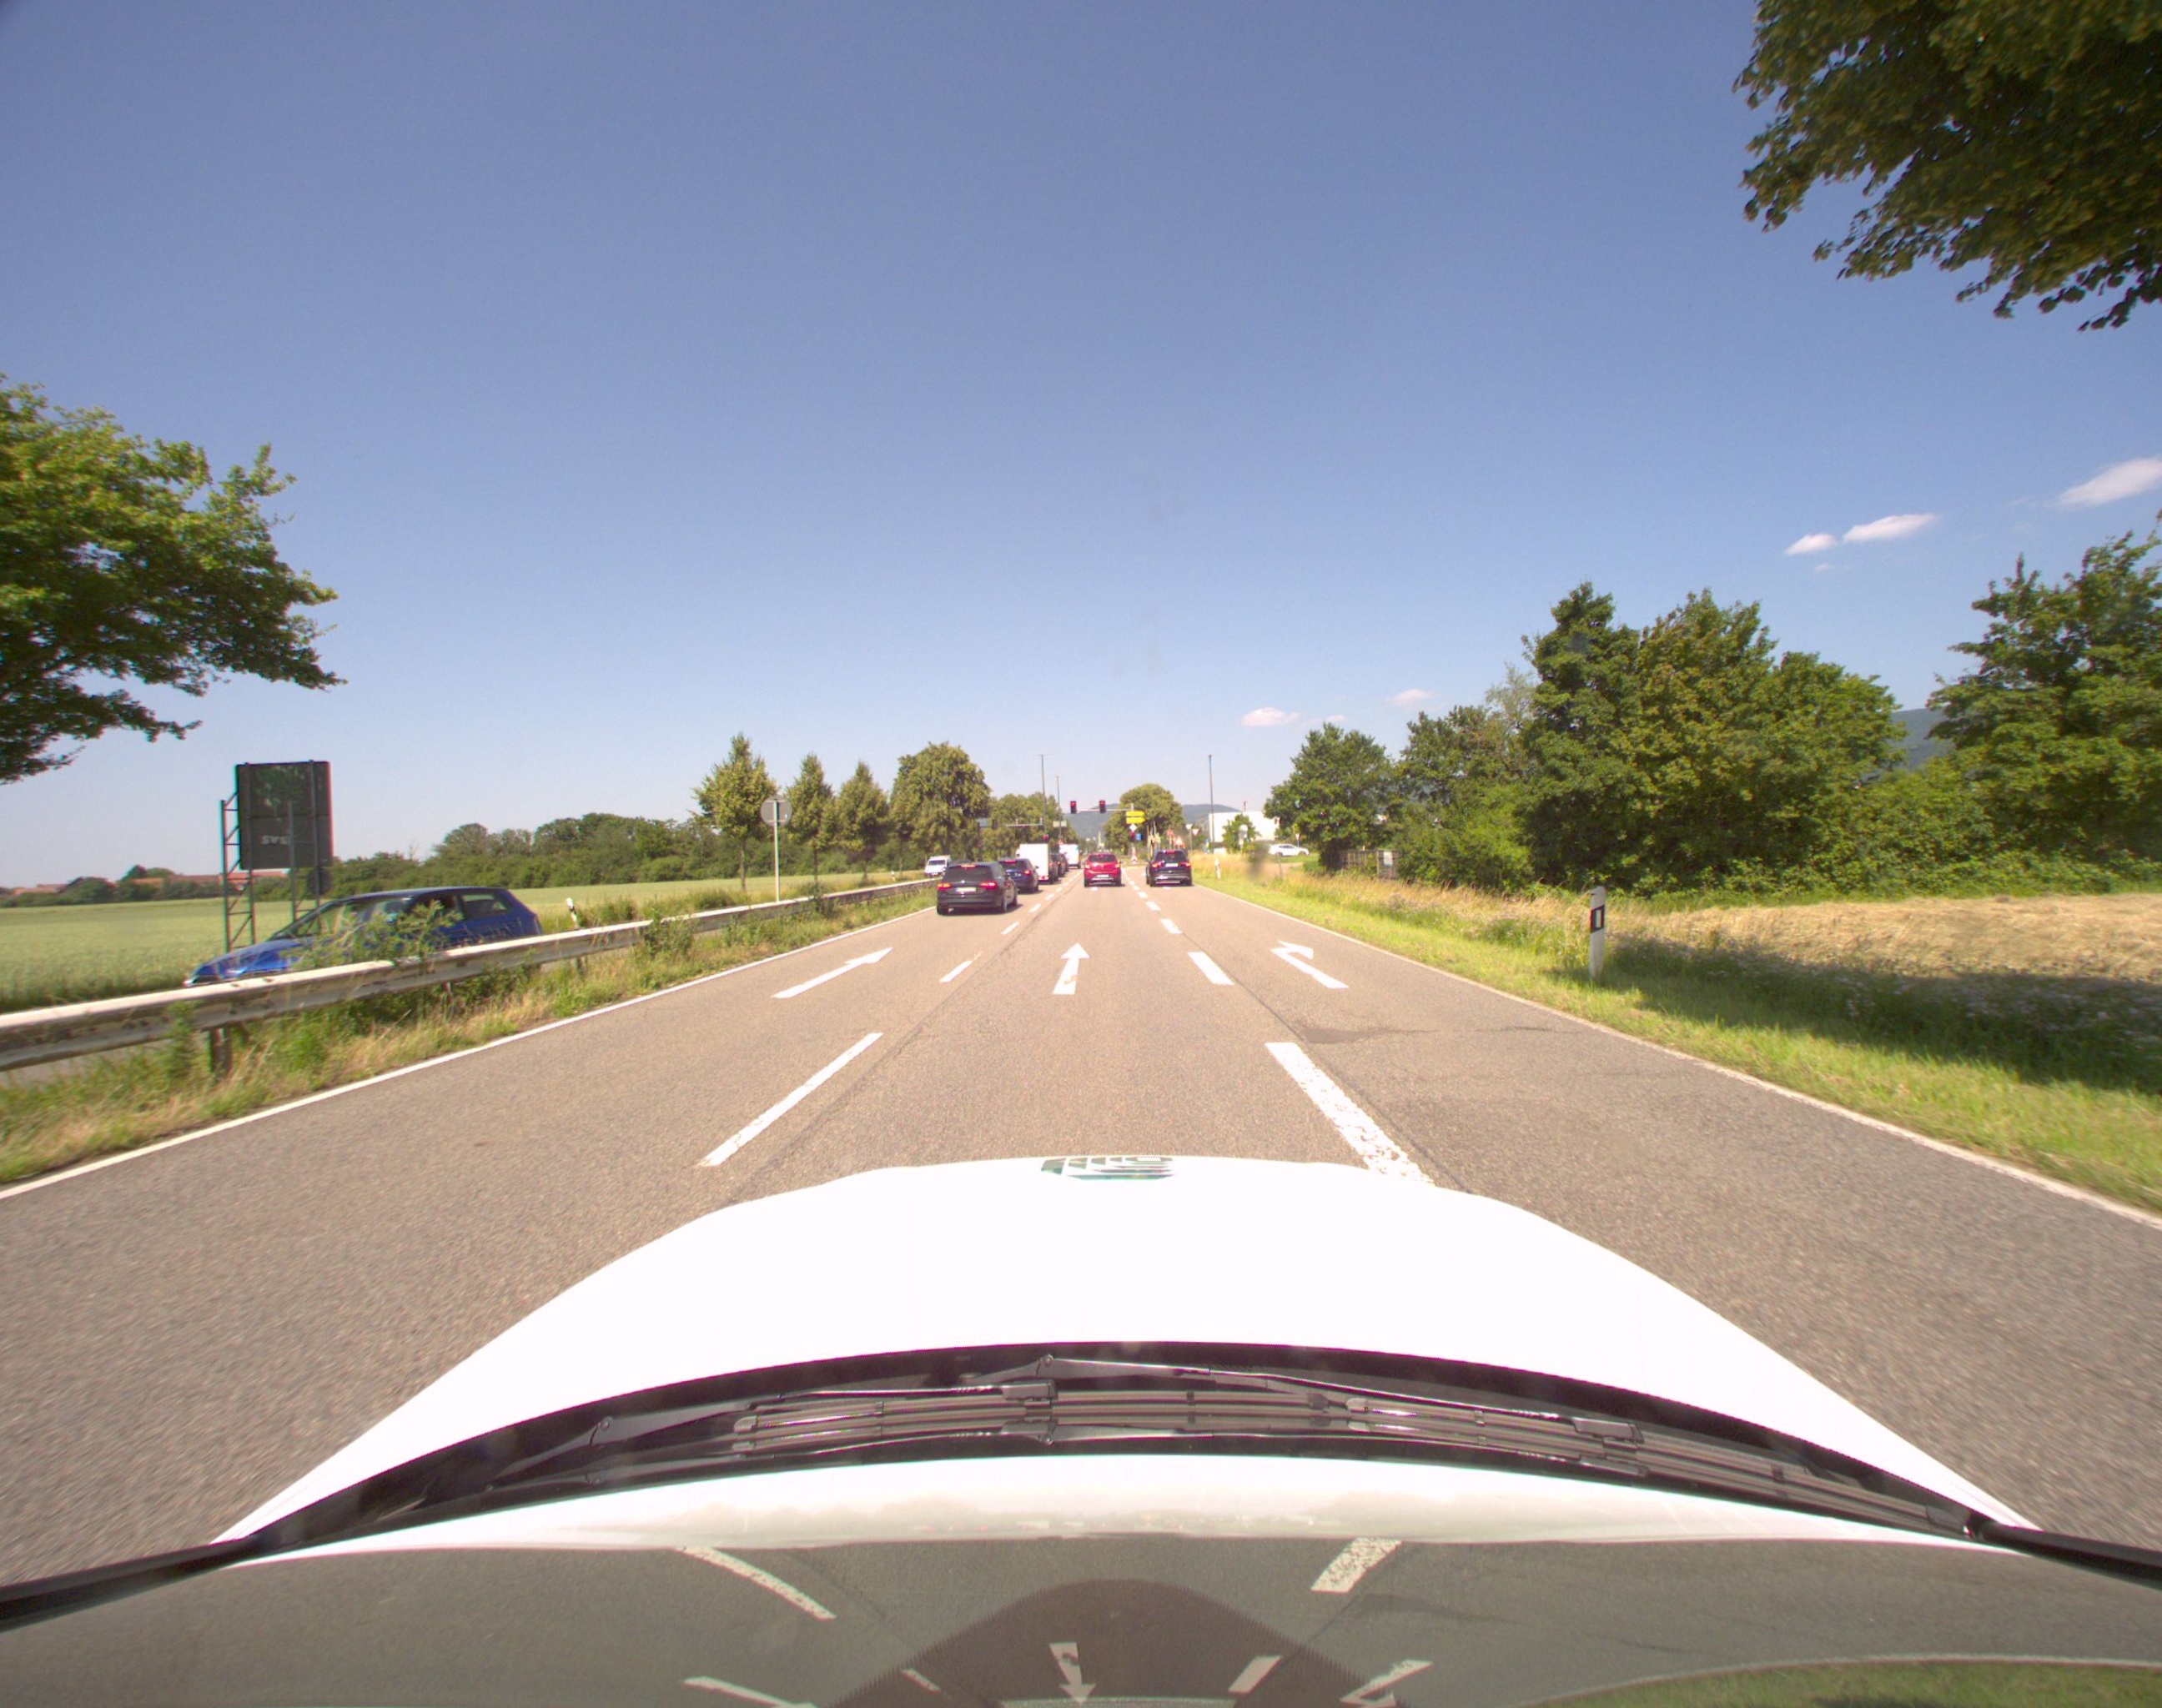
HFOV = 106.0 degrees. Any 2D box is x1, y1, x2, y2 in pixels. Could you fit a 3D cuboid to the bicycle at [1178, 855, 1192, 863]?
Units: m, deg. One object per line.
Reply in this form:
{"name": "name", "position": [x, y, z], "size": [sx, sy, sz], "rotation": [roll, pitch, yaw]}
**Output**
{"name": "bicycle", "position": [11.237, 0.541, 87.745], "size": [0.761, 0.915, 2.772], "rotation": [-3, 0, -8]}

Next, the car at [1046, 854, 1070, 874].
{"name": "car", "position": [-1.867, 0.799, 67.173], "size": [1.717, 1.600, 3.957], "rotation": [-2, 0, 2]}

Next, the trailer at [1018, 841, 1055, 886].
{"name": "trailer", "position": [-2.277, 0.476, 42.538], "size": [1.495, 2.173, 4.175], "rotation": [-3, 0, 1]}

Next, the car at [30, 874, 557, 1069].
{"name": "car", "position": [-8.939, 1.167, 9.989], "size": [1.986, 1.662, 4.481], "rotation": [-3, 0, 1]}

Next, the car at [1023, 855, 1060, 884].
{"name": "car", "position": [-2.229, 0.834, 46.742], "size": [1.739, 1.503, 4.364], "rotation": [-3, 0, 1]}

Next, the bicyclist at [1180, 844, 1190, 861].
{"name": "bicyclist", "position": [11.232, -0.194, 87.655], "size": [0.802, 1.771, 0.806], "rotation": [-2, -1, -8]}

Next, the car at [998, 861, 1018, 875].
{"name": "car", "position": [-8.517, 1.623, 95.259], "size": [1.872, 1.454, 4.505], "rotation": [-3, 0, 1]}

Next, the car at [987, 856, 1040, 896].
{"name": "car", "position": [-2.668, 0.836, 33.007], "size": [1.711, 1.465, 4.031], "rotation": [-1, 0, 1]}

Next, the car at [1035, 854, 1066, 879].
{"name": "car", "position": [-1.974, 0.788, 53.698], "size": [1.716, 1.575, 3.894], "rotation": [-1, 0, 2]}

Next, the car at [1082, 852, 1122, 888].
{"name": "car", "position": [1.039, 0.703, 38.371], "size": [1.742, 1.575, 3.679], "rotation": [-2, 0, 3]}

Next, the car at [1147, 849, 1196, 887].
{"name": "car", "position": [4.062, 0.593, 37.135], "size": [1.985, 1.616, 4.343], "rotation": [-1, 0, 3]}

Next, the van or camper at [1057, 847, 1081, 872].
{"name": "van or camper", "position": [-1.127, 0.502, 78.315], "size": [2.173, 2.303, 4.824], "rotation": [-2, 0, -1]}

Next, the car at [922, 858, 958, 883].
{"name": "car", "position": [-11.668, 1.342, 67.723], "size": [1.986, 1.951, 4.831], "rotation": [-3, 0, 1]}

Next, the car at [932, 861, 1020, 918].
{"name": "car", "position": [-2.845, 0.917, 23.005], "size": [1.734, 1.380, 4.457], "rotation": [-1, 0, 2]}

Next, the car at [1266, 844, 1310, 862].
{"name": "car", "position": [23.479, -0.133, 92.432], "size": [4.470, 1.868, 1.887], "rotation": [-3, 0, 3]}

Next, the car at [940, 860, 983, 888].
{"name": "car", "position": [-7.600, 1.256, 52.271], "size": [1.986, 1.603, 4.481], "rotation": [-3, 0, 1]}
